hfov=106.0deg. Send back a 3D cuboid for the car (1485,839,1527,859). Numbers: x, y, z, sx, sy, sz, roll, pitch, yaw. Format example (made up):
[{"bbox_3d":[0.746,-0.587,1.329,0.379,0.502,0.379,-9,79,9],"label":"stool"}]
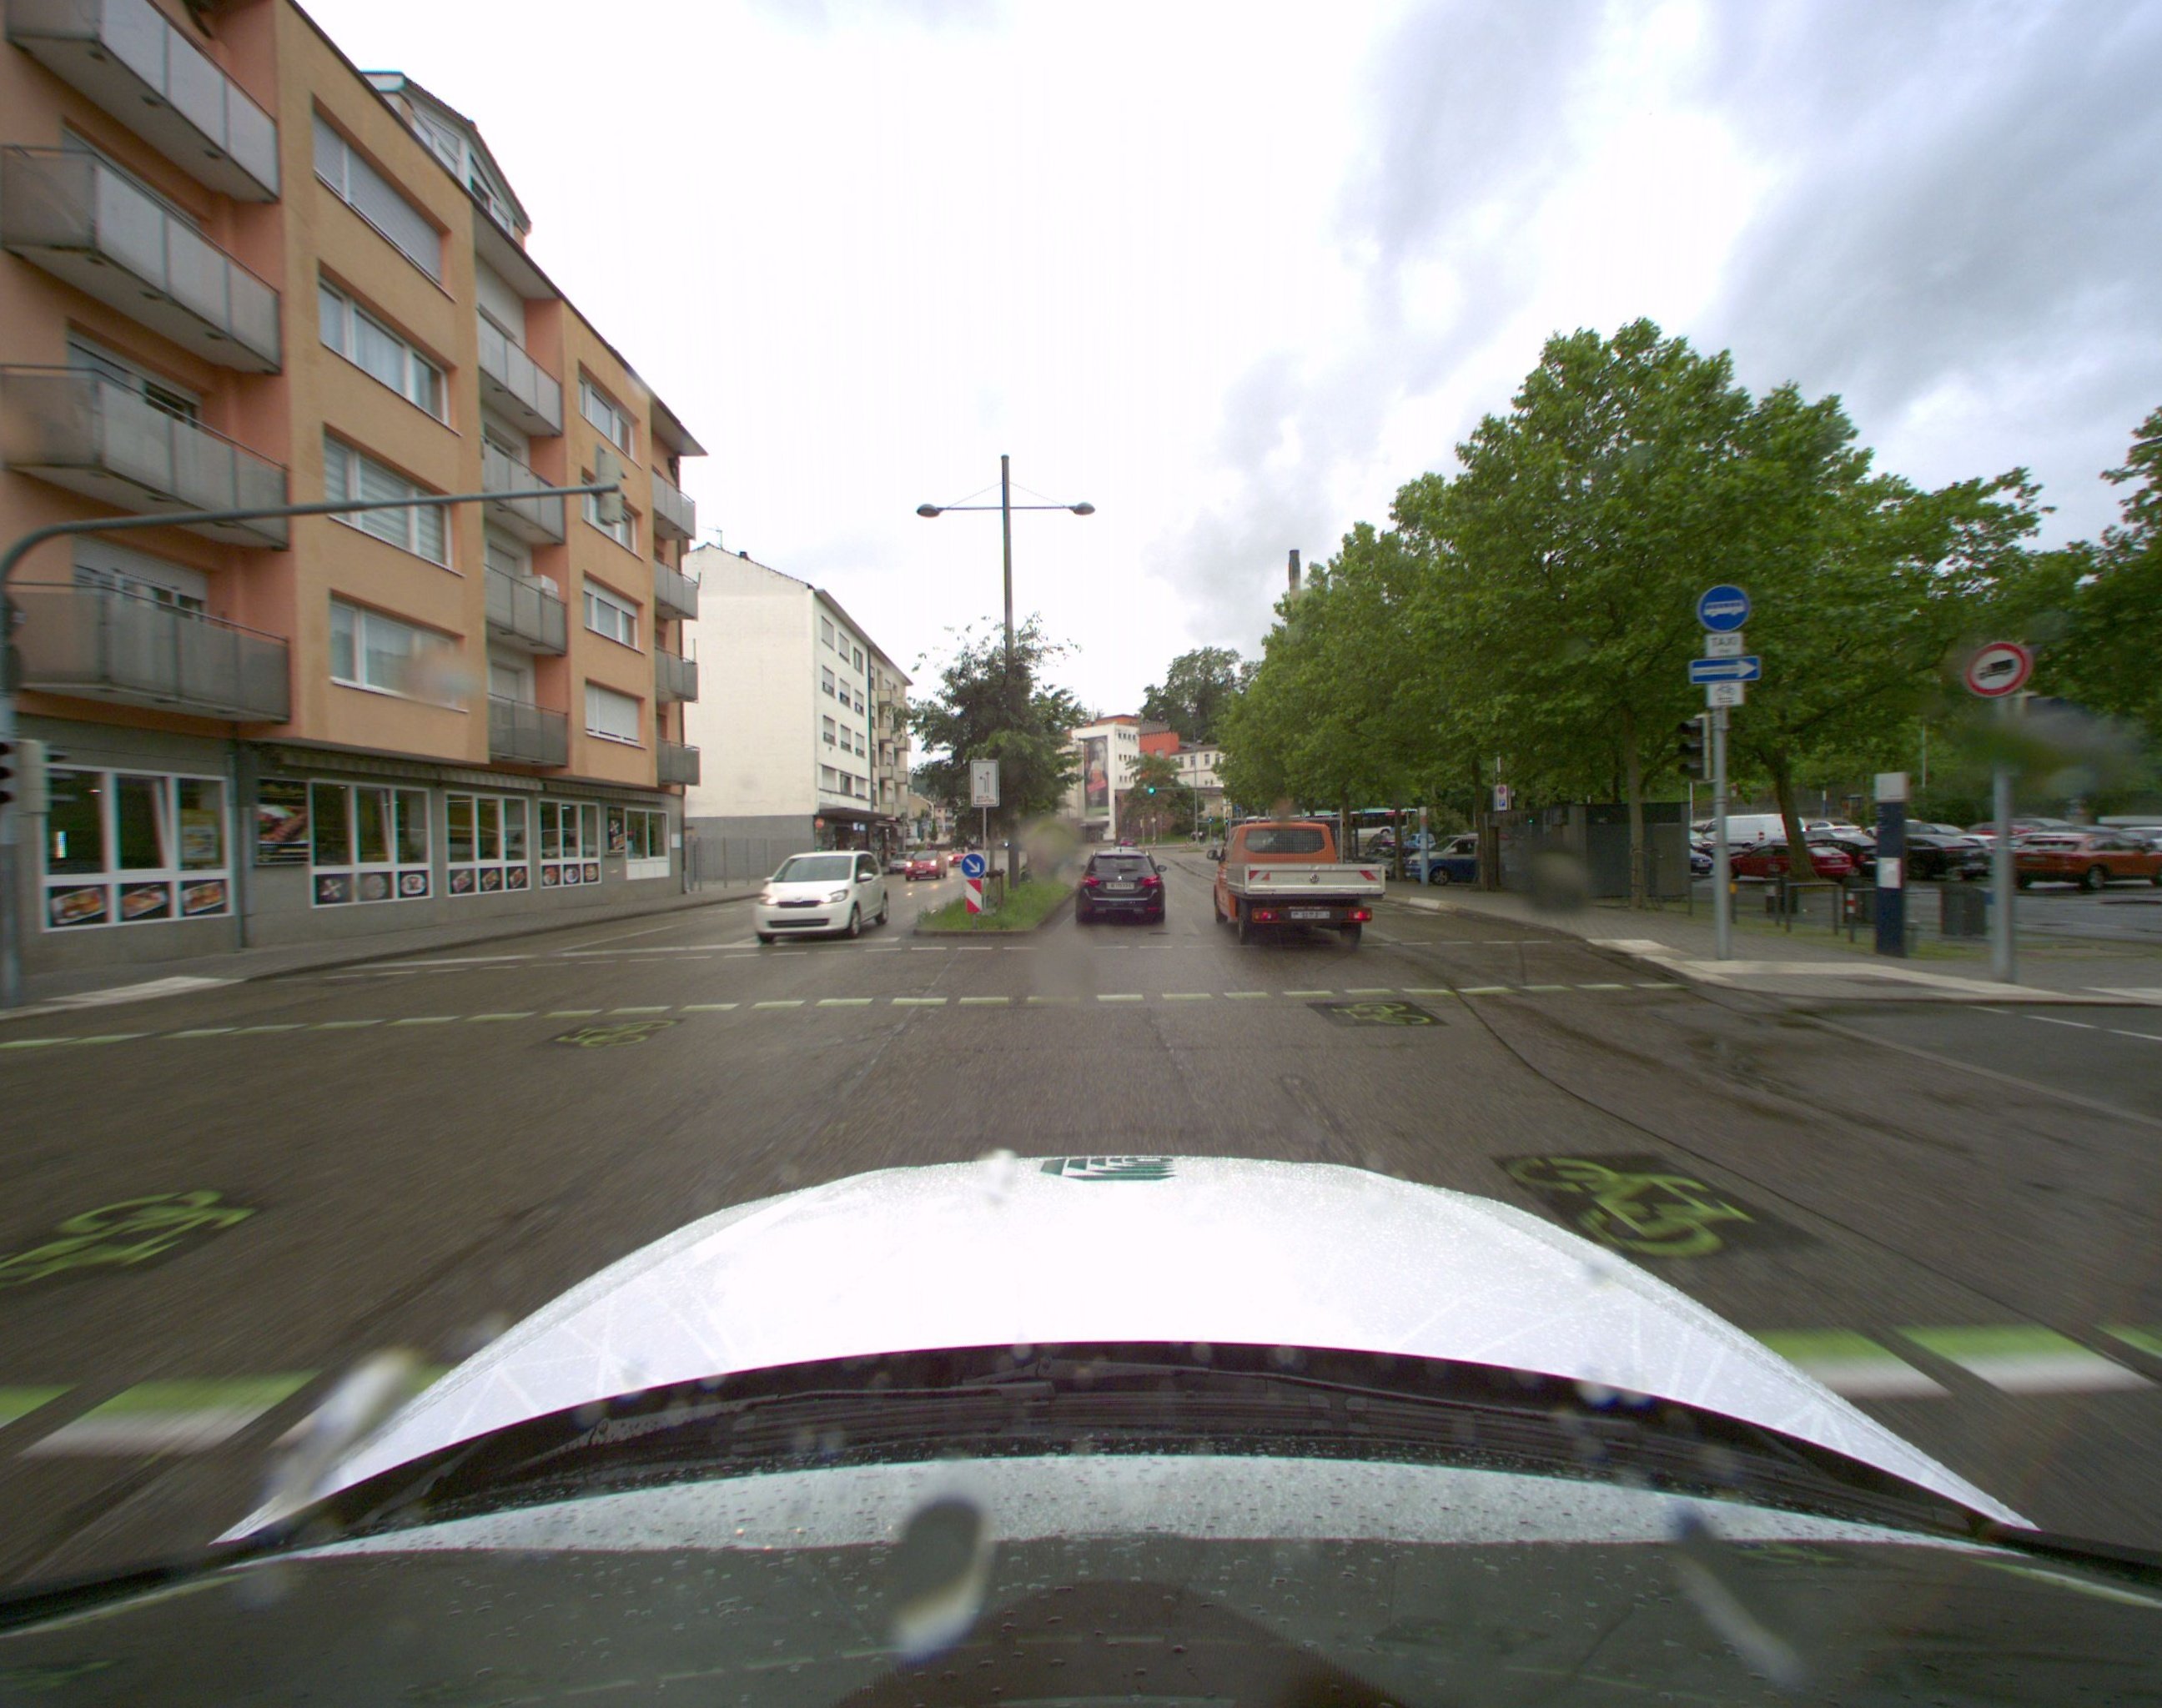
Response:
[{"bbox_3d":[35.045,-0.416,67.266,1.626,1.567,3.607,-1,1,0],"label":"car"}]

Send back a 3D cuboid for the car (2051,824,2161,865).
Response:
[{"bbox_3d":[41.374,-0.363,31.880,1.801,1.550,4.199,0,0,-2],"label":"car"}]

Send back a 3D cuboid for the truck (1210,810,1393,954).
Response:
[{"bbox_3d":[3.468,0.359,13.828,2.113,2.025,4.720,0,1,4],"label":"truck"}]

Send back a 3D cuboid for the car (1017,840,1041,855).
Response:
[{"bbox_3d":[-6.152,-0.739,95.941,1.653,1.564,3.569,3,-2,-26],"label":"car"}]

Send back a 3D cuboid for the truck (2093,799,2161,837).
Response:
[{"bbox_3d":[66.231,-2.179,49.005,2.437,2.238,6.513,0,0,-5],"label":"truck"}]

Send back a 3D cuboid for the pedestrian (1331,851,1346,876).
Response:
[{"bbox_3d":[13.999,0.491,44.246,0.619,1.357,0.727,0,0,1],"label":"pedestrian"}]

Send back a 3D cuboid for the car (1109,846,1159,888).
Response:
[{"bbox_3d":[1.983,0.439,31.345,1.788,1.483,4.002,-1,1,2],"label":"car"}]

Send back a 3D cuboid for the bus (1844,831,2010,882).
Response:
[{"bbox_3d":[30.701,0.076,29.740,1.986,1.723,4.001,0,0,1],"label":"bus"}]

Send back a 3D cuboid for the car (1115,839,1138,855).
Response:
[{"bbox_3d":[4.763,-0.698,85.977,1.644,1.564,3.588,2,-2,-9],"label":"car"}]

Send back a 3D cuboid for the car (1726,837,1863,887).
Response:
[{"bbox_3d":[26.001,0.265,29.839,1.593,1.651,3.629,-2,1,-7],"label":"car"}]

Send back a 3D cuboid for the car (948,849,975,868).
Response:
[{"bbox_3d":[-9.320,0.295,63.680,1.686,1.401,3.659,-1,1,-2],"label":"car"}]

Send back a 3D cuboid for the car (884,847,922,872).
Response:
[{"bbox_3d":[-11.720,0.352,53.671,1.772,1.525,3.659,-1,1,-2],"label":"car"}]

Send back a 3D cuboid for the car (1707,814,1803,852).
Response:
[{"bbox_3d":[38.030,-1.151,46.092,1.989,2.013,4.060,-1,0,-2],"label":"car"}]

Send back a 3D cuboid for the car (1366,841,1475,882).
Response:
[{"bbox_3d":[14.807,0.300,35.671,3.972,1.649,1.918,2,1,1],"label":"car"}]

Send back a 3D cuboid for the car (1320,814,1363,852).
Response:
[{"bbox_3d":[20.867,-1.655,65.364,2.066,2.970,4.227,0,0,0],"label":"car"}]

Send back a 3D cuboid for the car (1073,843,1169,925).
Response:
[{"bbox_3d":[0.812,0.541,17.270,1.788,1.483,4.002,1,1,2],"label":"car"}]

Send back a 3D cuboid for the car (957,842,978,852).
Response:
[{"bbox_3d":[-17.892,-1.133,128.276,1.609,1.510,3.556,0,0,-43],"label":"car"}]

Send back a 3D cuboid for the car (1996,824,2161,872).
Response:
[{"bbox_3d":[38.696,-0.168,31.673,1.798,1.664,4.000,2,-2,1],"label":"car"}]

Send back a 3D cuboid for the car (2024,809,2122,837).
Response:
[{"bbox_3d":[56.813,-1.752,46.717,1.647,1.515,3.414,-1,1,6],"label":"car"}]

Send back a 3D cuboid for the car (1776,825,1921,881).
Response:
[{"bbox_3d":[28.475,0.007,30.410,1.819,1.904,4.003,2,-2,3],"label":"car"}]

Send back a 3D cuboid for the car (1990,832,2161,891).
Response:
[{"bbox_3d":[30.429,0.197,24.671,4.114,1.621,1.803,-1,1,-6],"label":"car"}]

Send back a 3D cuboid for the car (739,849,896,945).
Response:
[{"bbox_3d":[-4.602,0.674,14.756,1.649,1.449,3.542,-3,1,0],"label":"car"}]

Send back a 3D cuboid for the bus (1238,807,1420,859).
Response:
[{"bbox_3d":[25.485,-2.180,84.307,17.852,5.211,3.100,0,0,1],"label":"bus"}]

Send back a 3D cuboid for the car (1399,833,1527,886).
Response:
[{"bbox_3d":[14.523,0.202,31.138,3.972,1.924,1.971,1,1,2],"label":"car"}]

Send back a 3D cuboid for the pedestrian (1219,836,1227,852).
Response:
[{"bbox_3d":[14.587,-1.032,83.651,0.716,1.664,0.563,-2,2,-3],"label":"pedestrian"}]

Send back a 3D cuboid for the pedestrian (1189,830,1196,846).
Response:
[{"bbox_3d":[11.941,-1.699,87.289,0.638,1.664,0.563,-2,2,-3],"label":"pedestrian"}]

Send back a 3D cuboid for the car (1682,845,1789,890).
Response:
[{"bbox_3d":[29.678,0.625,37.106,1.819,1.904,4.003,2,-2,3],"label":"car"}]

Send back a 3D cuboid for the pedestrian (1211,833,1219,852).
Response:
[{"bbox_3d":[13.757,-1.179,83.564,0.716,1.992,0.563,-2,2,-3],"label":"pedestrian"}]

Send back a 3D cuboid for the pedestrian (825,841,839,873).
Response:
[{"bbox_3d":[-14.492,0.154,47.401,0.638,1.861,0.523,0,1,-3],"label":"pedestrian"}]

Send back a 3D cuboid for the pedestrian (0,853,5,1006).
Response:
[{"bbox_3d":[-12.557,0.867,8.957,0.528,1.727,0.649,-1,1,2],"label":"pedestrian"}]

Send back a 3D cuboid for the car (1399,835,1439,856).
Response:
[{"bbox_3d":[26.774,-0.703,64.611,1.675,1.618,3.649,0,0,0],"label":"car"}]

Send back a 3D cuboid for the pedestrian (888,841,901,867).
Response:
[{"bbox_3d":[-14.807,0.026,64.568,0.731,2.014,0.650,3,-2,-35],"label":"pedestrian"}]

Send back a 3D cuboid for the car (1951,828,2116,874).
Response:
[{"bbox_3d":[36.616,-0.128,31.474,1.812,1.651,4.002,0,0,2],"label":"car"}]

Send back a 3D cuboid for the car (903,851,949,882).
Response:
[{"bbox_3d":[-7.810,0.613,41.324,1.660,1.399,3.874,-2,1,-2],"label":"car"}]

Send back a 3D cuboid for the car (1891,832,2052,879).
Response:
[{"bbox_3d":[33.506,0.045,30.823,1.812,1.651,4.002,0,0,2],"label":"car"}]

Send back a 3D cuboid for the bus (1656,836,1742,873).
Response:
[{"bbox_3d":[35.184,0.075,46.514,1.986,1.948,4.001,2,-2,2],"label":"bus"}]

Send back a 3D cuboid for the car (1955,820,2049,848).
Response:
[{"bbox_3d":[52.116,-1.105,46.166,1.647,1.515,3.414,-1,1,6],"label":"car"}]

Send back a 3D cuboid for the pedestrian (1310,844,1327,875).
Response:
[{"bbox_3d":[13.129,0.299,45.044,0.722,1.700,0.623,0,0,0],"label":"pedestrian"}]

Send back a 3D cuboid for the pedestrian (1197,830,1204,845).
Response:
[{"bbox_3d":[12.792,-1.764,87.327,0.638,1.664,0.563,-2,2,-3],"label":"pedestrian"}]

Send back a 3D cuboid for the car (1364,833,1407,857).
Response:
[{"bbox_3d":[24.211,-0.731,64.934,1.824,1.825,4.227,0,0,0],"label":"car"}]

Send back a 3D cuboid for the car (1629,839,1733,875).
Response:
[{"bbox_3d":[25.946,0.094,35.373,1.663,1.433,4.002,-1,1,2],"label":"car"}]

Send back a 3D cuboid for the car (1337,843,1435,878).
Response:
[{"bbox_3d":[14.333,0.285,38.425,3.972,1.509,1.744,2,1,1],"label":"car"}]

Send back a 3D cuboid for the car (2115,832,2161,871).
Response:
[{"bbox_3d":[43.951,-0.103,31.791,1.801,1.550,4.199,0,0,-2],"label":"car"}]

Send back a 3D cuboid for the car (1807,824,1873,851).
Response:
[{"bbox_3d":[56.657,-1.248,60.873,1.871,1.922,4.015,-1,1,13],"label":"car"}]

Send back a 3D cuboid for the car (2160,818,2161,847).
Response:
[{"bbox_3d":[54.501,-1.025,38.040,1.992,1.437,4.583,0,0,-7],"label":"car"}]
